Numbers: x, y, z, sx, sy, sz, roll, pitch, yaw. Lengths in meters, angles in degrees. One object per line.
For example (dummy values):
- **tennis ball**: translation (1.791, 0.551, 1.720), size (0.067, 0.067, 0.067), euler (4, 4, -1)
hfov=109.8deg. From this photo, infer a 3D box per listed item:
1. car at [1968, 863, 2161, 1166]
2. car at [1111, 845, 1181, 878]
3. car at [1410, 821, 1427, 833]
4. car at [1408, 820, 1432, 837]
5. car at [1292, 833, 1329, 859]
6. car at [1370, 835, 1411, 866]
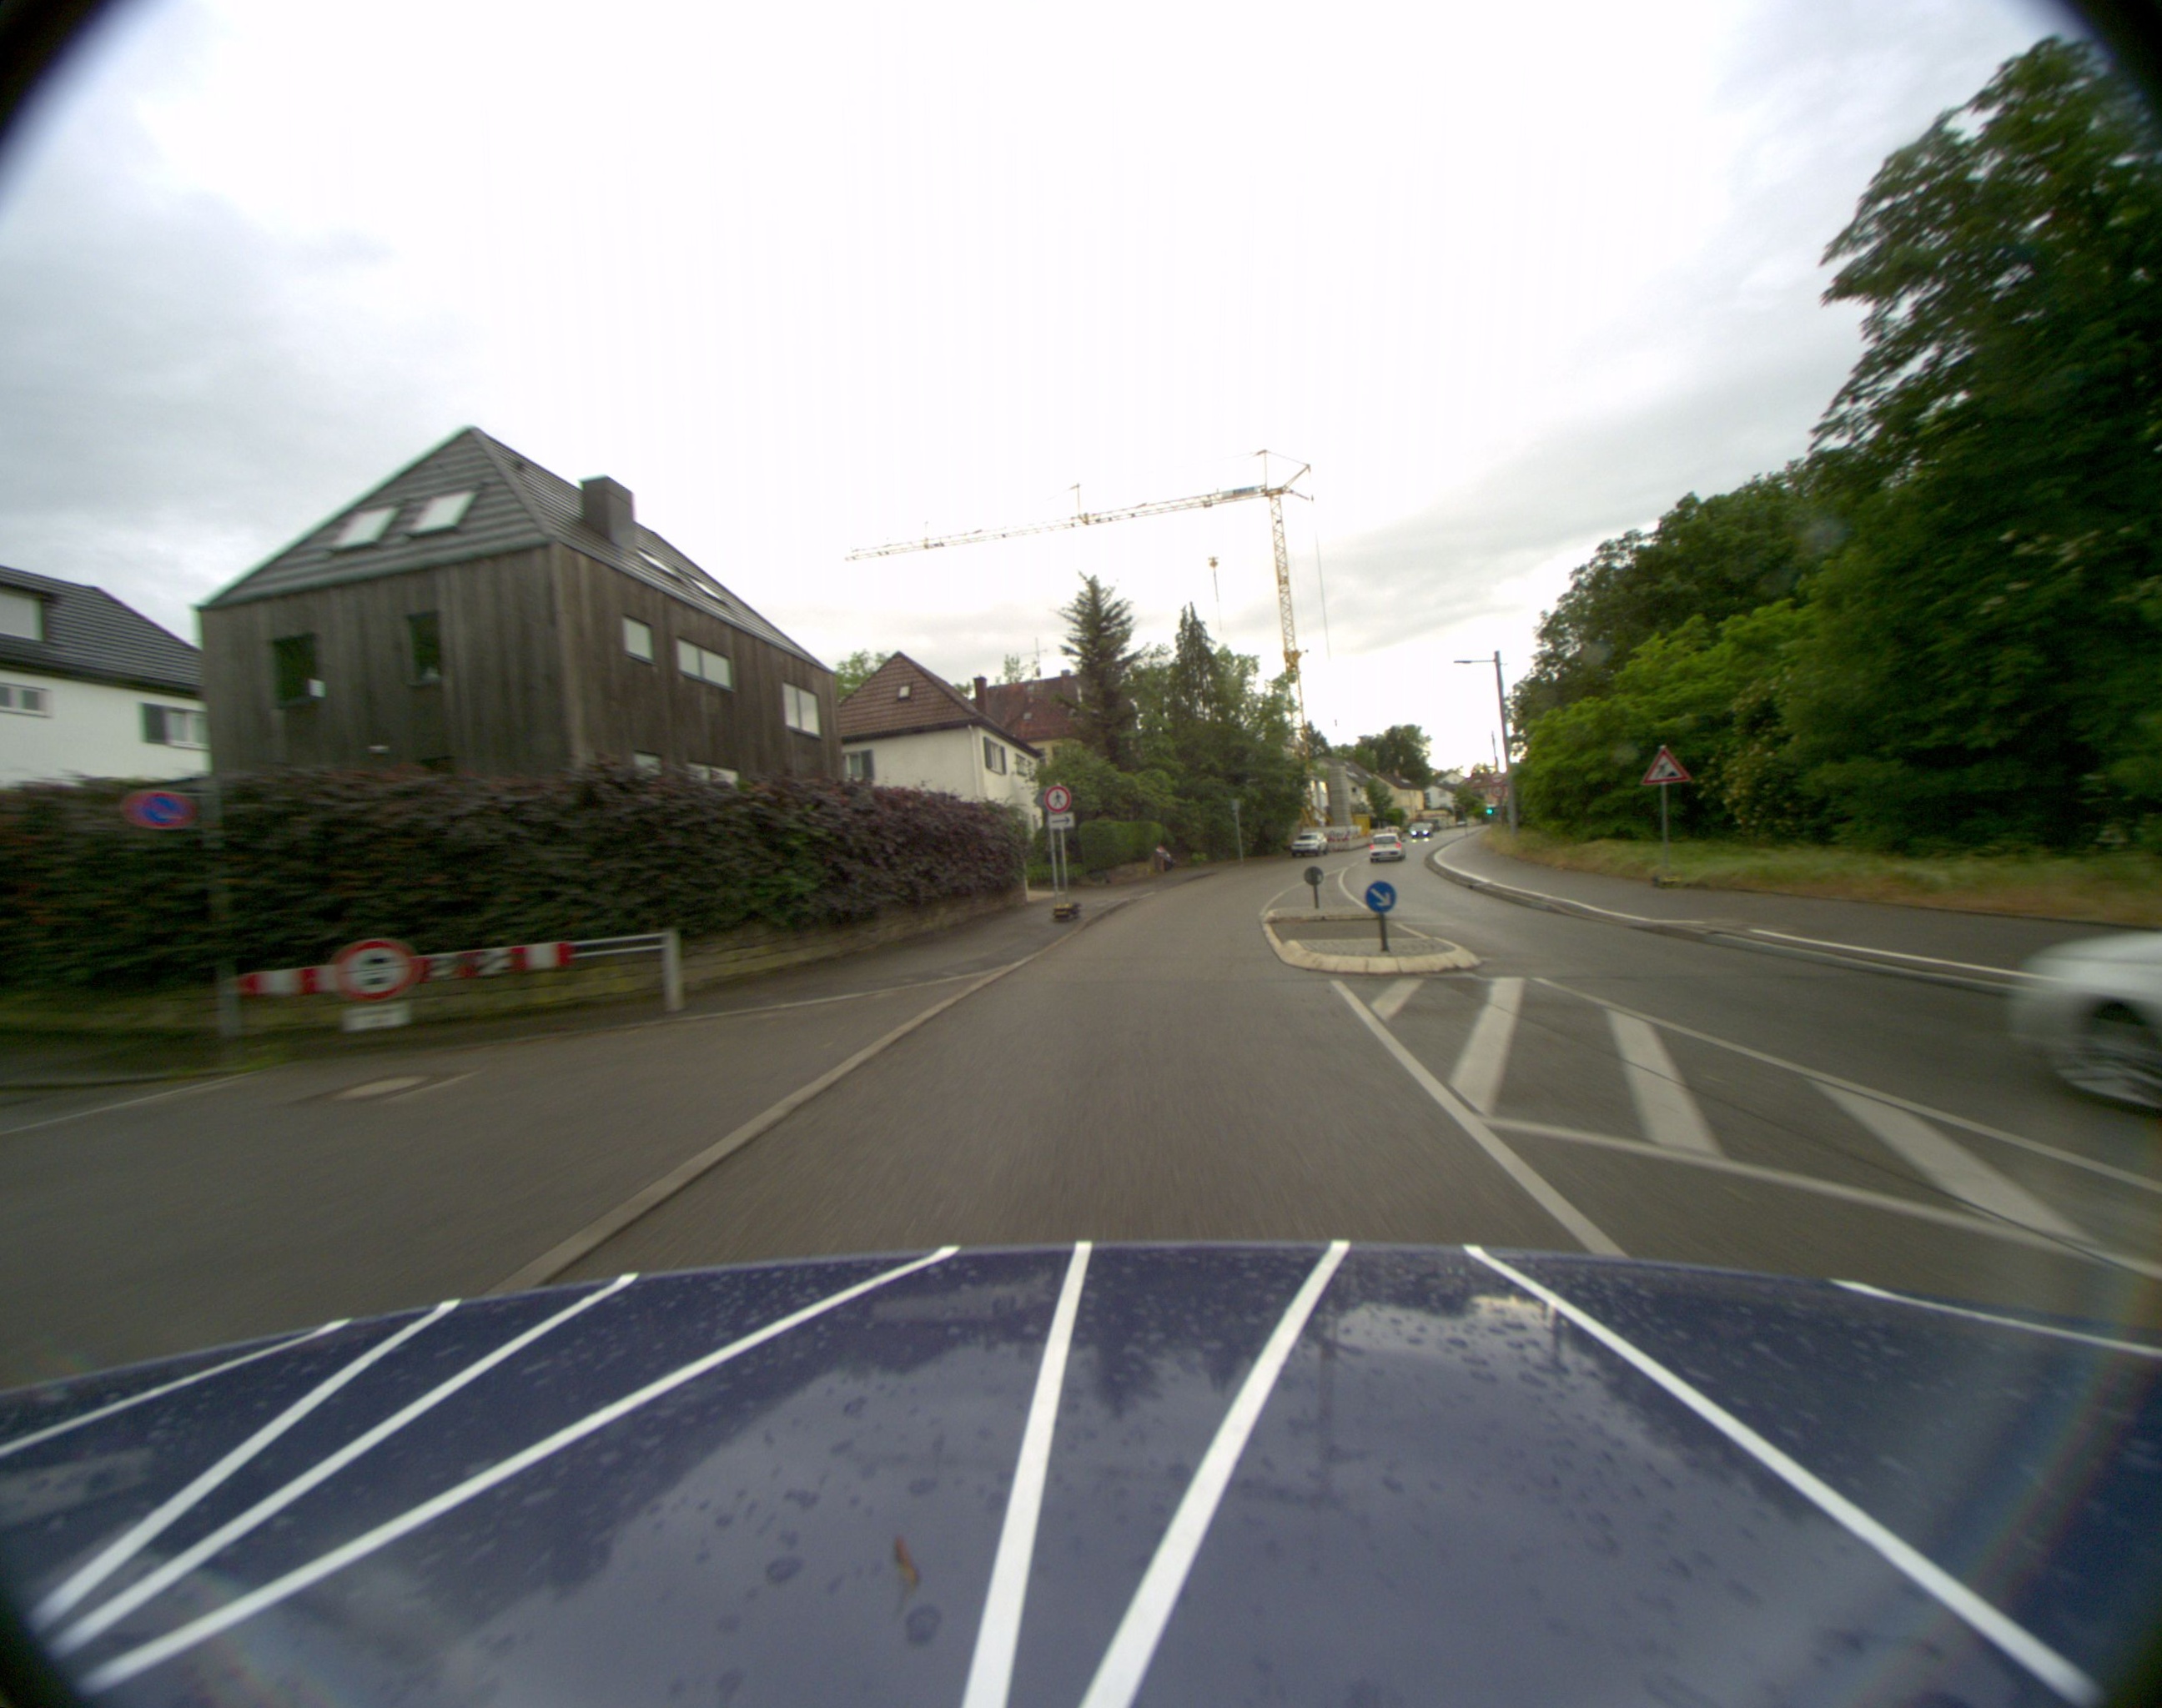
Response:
- **car**: translation (6.144, 0.804, 2.773), size (1.570, 1.468, 3.668), euler (-2, 0, 2)
- **car**: translation (3.623, 0.397, 42.301), size (3.482, 1.404, 1.429), euler (-7, 0, 20)
- **car**: translation (45.648, -3.668, 102.668), size (1.733, 1.481, 4.006), euler (-2, 2, 29)
- **car**: translation (36.709, -2.692, 82.250), size (1.995, 1.707, 4.007), euler (-2, 0, 28)
- **car**: translation (16.013, -0.585, 52.864), size (1.828, 1.586, 4.006), euler (-1, 2, 26)
- **car**: translation (16.887, -0.229, 41.368), size (1.633, 1.446, 3.808), euler (-3, 1, 28)
